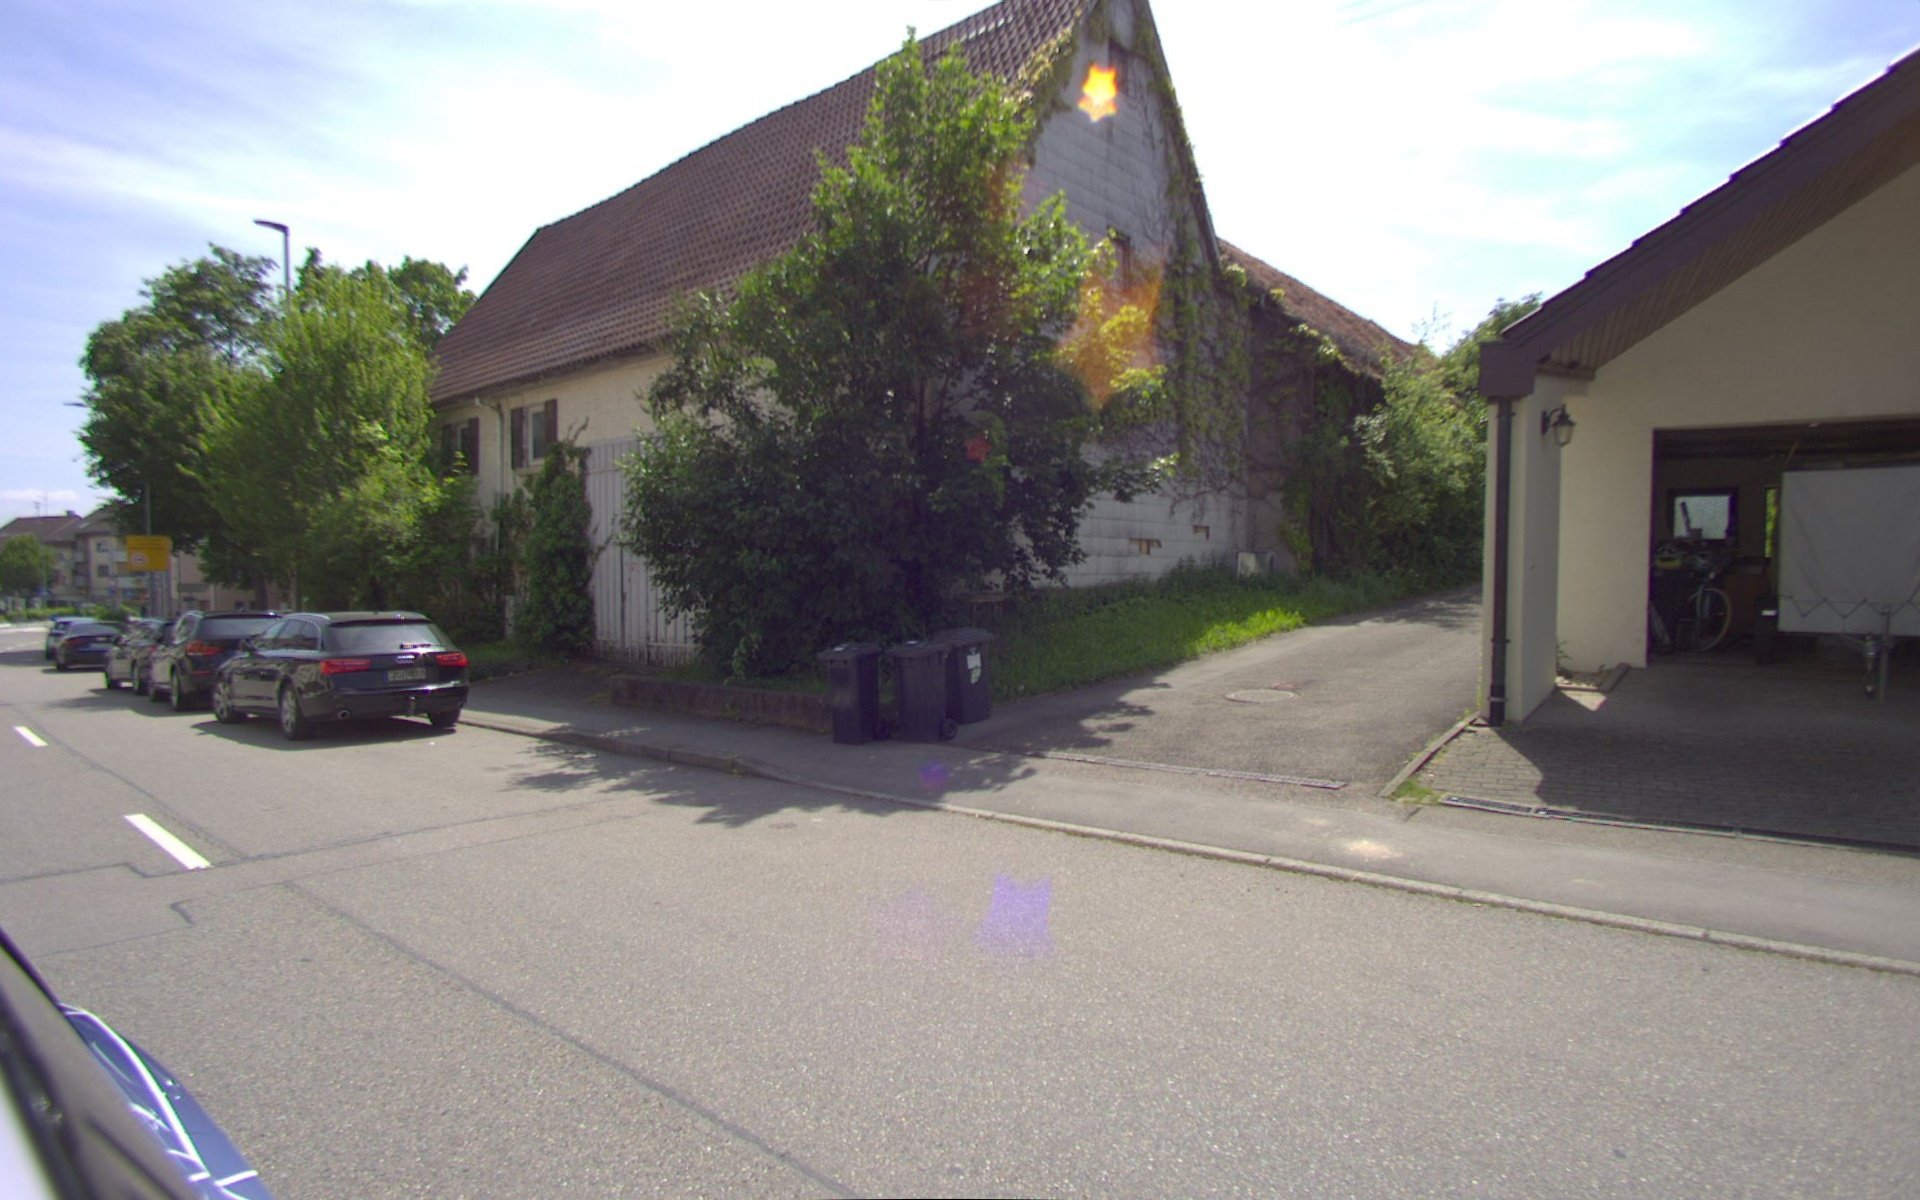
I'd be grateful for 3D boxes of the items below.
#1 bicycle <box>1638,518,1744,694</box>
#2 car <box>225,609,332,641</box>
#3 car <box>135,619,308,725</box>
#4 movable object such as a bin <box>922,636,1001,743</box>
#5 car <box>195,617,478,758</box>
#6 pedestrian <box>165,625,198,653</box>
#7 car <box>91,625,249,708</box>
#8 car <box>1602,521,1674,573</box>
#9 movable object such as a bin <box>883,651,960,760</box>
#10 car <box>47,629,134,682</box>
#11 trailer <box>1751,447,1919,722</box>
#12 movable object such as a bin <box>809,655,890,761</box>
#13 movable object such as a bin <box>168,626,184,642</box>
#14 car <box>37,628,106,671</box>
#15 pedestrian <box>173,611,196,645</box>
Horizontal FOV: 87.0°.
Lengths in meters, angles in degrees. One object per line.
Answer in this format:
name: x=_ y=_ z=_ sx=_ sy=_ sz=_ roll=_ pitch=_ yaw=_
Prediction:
bicycle: x=7.295 y=-0.031 z=10.063 sx=0.760 sy=1.390 sz=2.724 roll=0 pitch=7 yaw=37
car: x=-39.448 y=1.426 z=58.715 sx=1.993 sy=1.490 sz=4.741 roll=-1 pitch=3 yaw=31
car: x=-12.396 y=1.118 z=16.879 sx=1.735 sy=1.532 sz=4.303 roll=0 pitch=-2 yaw=-44
movable object such as a bin: x=0.014 y=0.874 z=10.092 sx=0.523 sy=0.955 sz=0.497 roll=-1 pitch=7 yaw=36
car: x=-8.109 y=0.993 z=12.961 sx=4.774 sy=1.484 sz=1.800 roll=-2 pitch=-2 yaw=42
pedestrian: x=-37.445 y=1.879 z=48.685 sx=1.220 sy=1.278 sz=0.648 roll=-2 pitch=1 yaw=-36
car: x=-16.096 y=1.253 z=20.526 sx=4.712 sy=1.474 sz=1.769 roll=-1 pitch=-2 yaw=43
car: x=23.679 y=-1.806 z=35.306 sx=1.805 sy=1.674 sz=3.566 roll=-1 pitch=1 yaw=38
movable object such as a bin: x=-0.361 y=0.971 z=9.479 sx=0.527 sy=0.945 sz=0.469 roll=-1 pitch=1 yaw=38
car: x=-26.205 y=1.624 z=30.437 sx=1.783 sy=1.434 sz=4.933 roll=1 pitch=-2 yaw=-43
trailer: x=8.369 y=-0.312 z=8.980 sx=1.997 sy=2.027 sz=3.798 roll=-1 pitch=6 yaw=37
movable object such as a bin: x=-1.047 y=1.009 z=9.627 sx=0.584 sy=0.909 sz=0.496 roll=1 pitch=2 yaw=36
movable object such as a bin: x=-51.604 y=2.218 z=66.623 sx=0.790 sy=1.008 sz=0.806 roll=-3 pitch=1 yaw=-37
car: x=-33.911 y=1.840 z=38.694 sx=1.750 sy=1.539 sz=4.229 roll=2 pitch=-2 yaw=-39
pedestrian: x=-38.426 y=1.393 z=50.149 sx=0.627 sy=1.628 sz=0.725 roll=-1 pitch=1 yaw=30
